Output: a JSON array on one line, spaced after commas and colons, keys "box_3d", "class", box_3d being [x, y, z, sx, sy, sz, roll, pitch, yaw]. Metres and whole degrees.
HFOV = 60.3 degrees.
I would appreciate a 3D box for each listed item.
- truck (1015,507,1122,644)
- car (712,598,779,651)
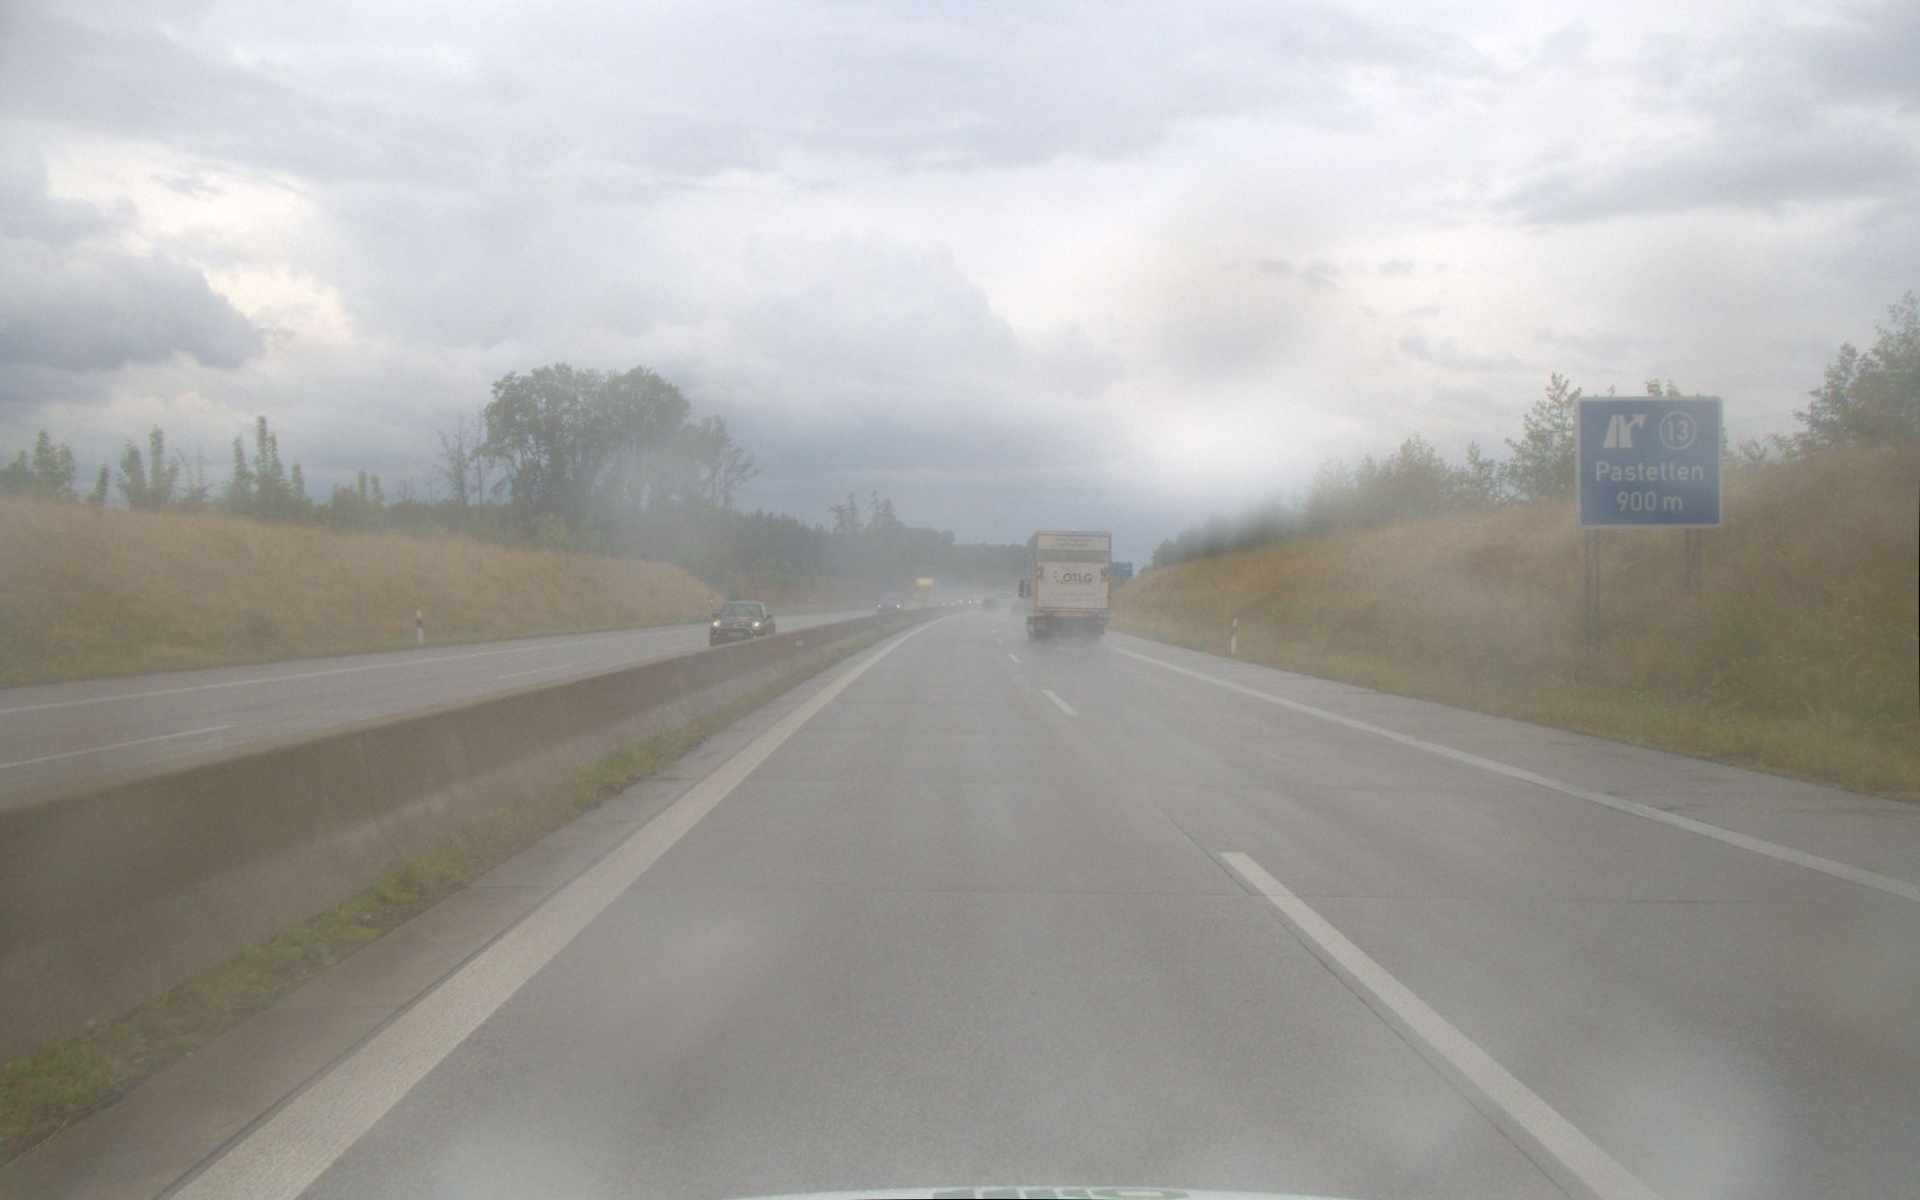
[{"box_3d": [3.716, -0.882, 58.836, 3.177, 4.514, 8.245, 0, 1, -1], "class": "truck"}, {"box_3d": [-6.724, 0.749, 52.211, 1.590, 1.453, 4.000, -2, 2, -1], "class": "car"}]
